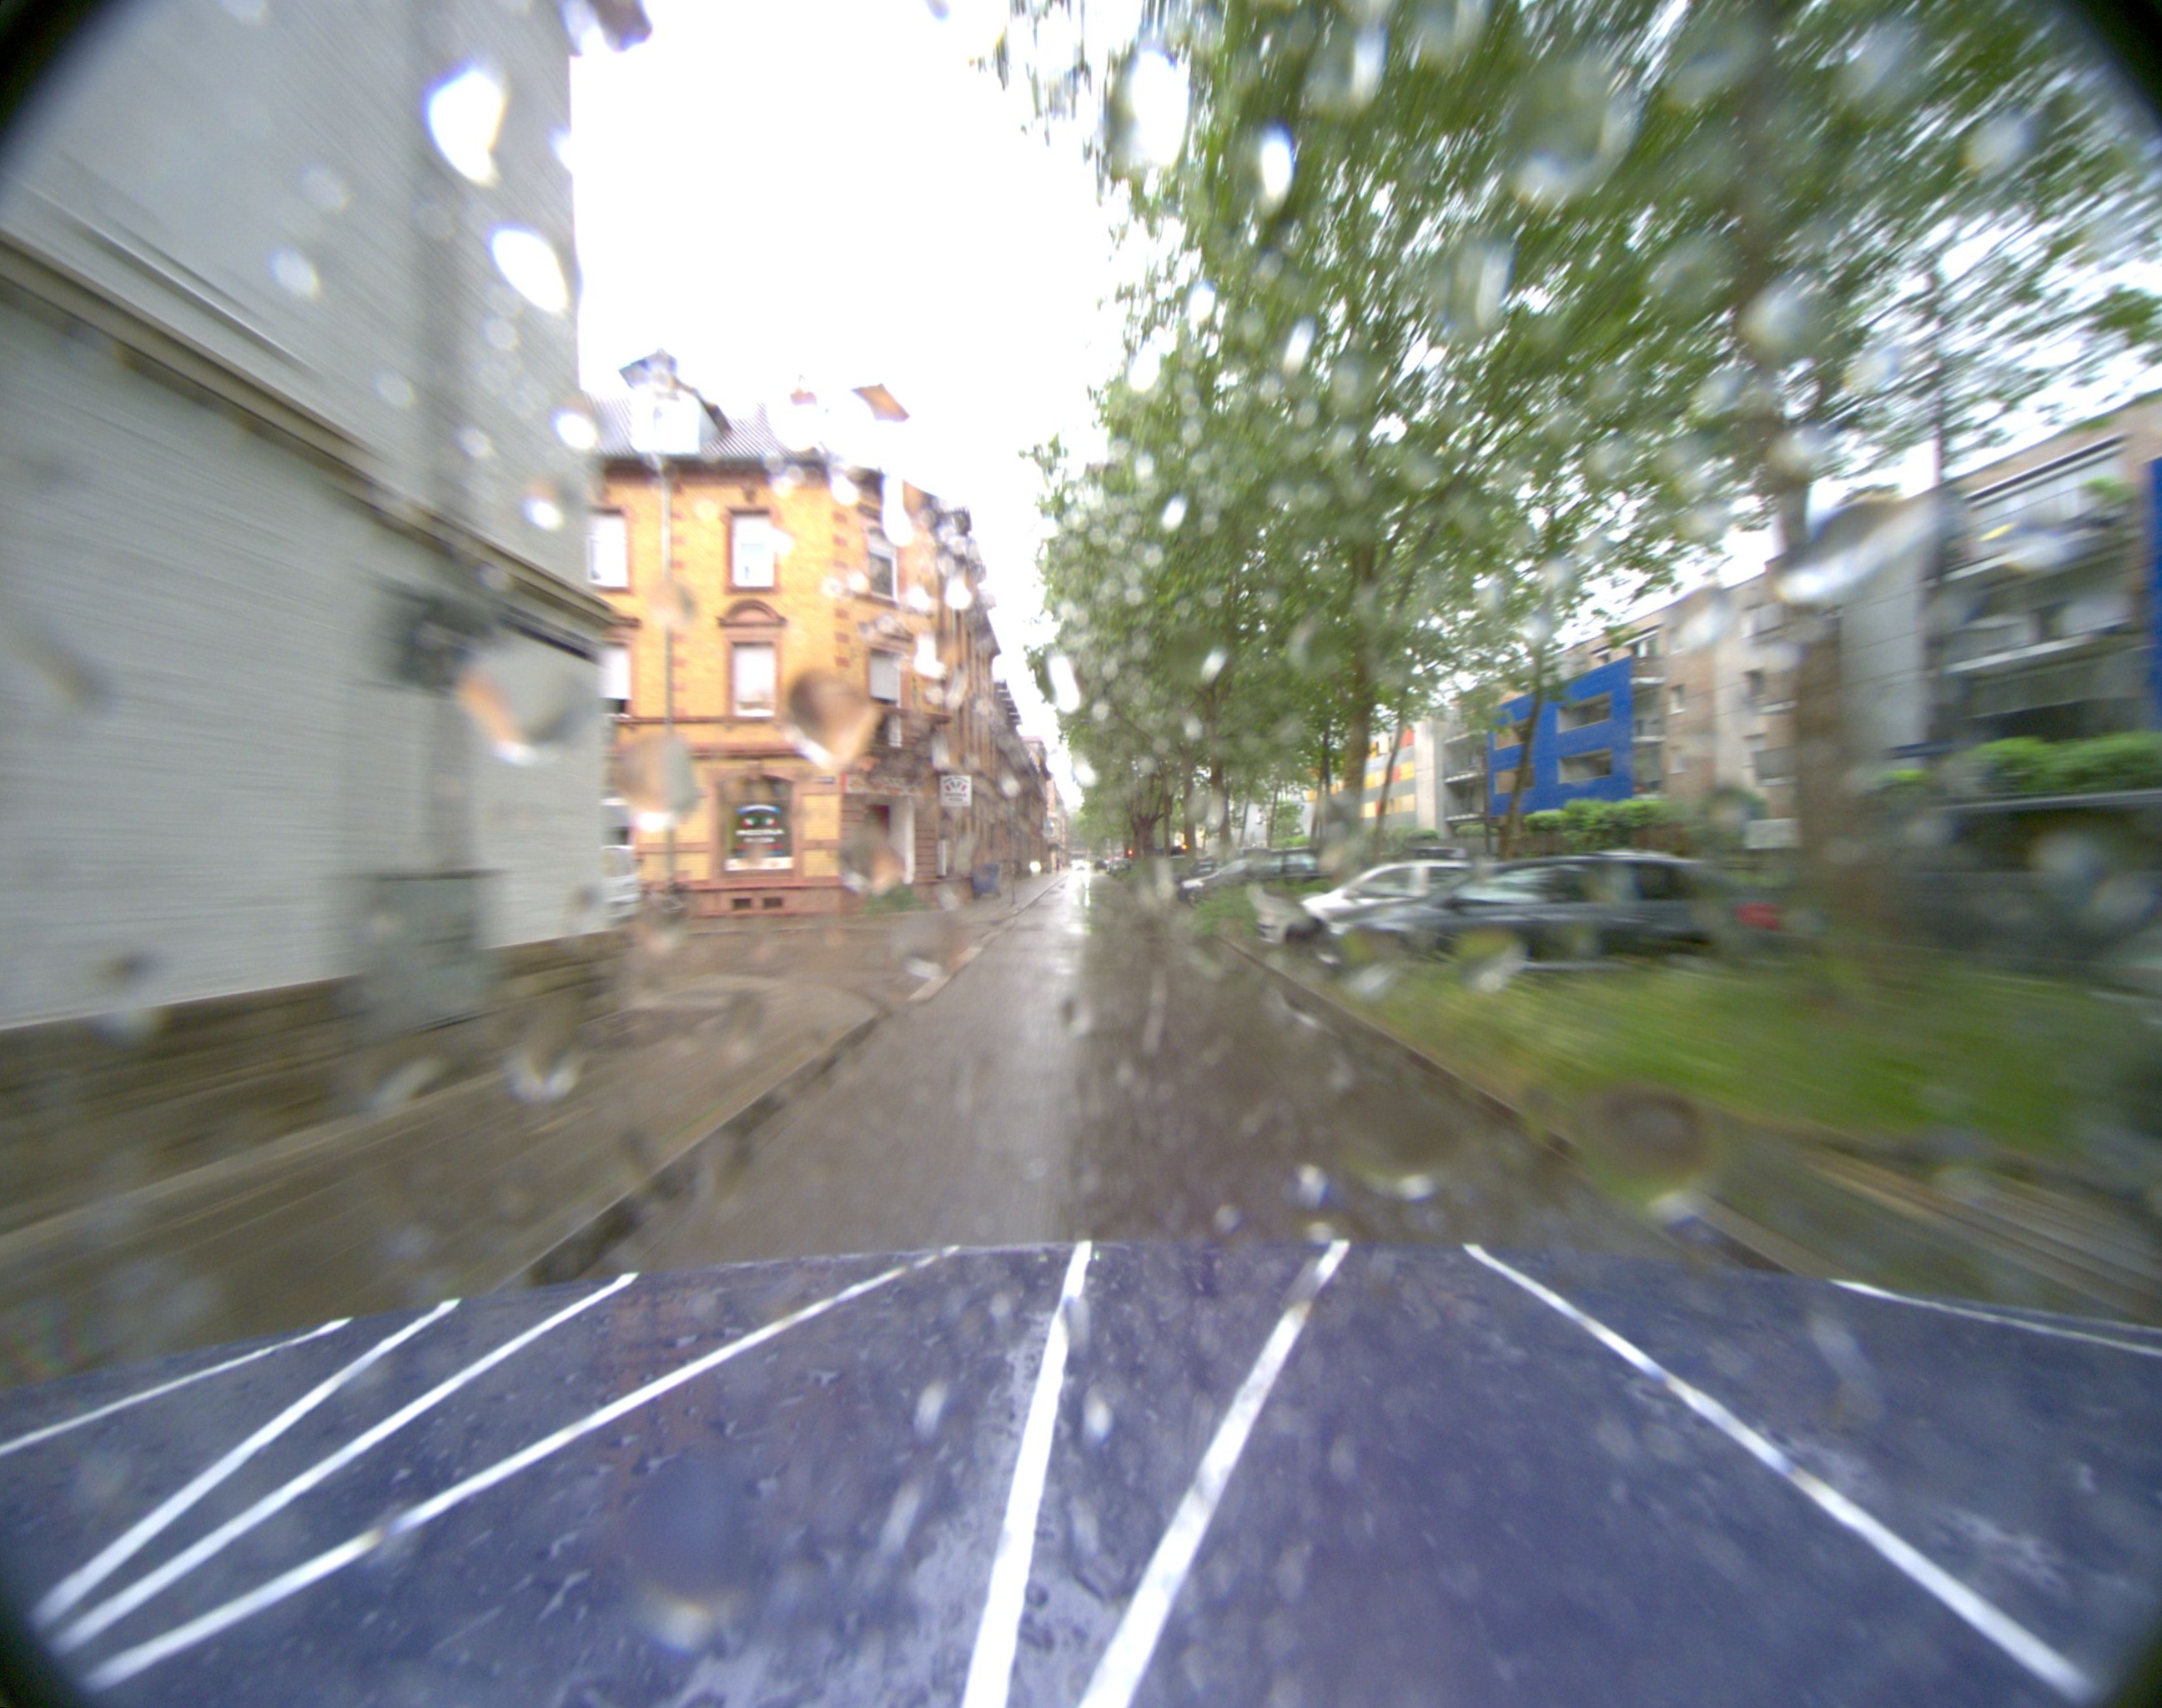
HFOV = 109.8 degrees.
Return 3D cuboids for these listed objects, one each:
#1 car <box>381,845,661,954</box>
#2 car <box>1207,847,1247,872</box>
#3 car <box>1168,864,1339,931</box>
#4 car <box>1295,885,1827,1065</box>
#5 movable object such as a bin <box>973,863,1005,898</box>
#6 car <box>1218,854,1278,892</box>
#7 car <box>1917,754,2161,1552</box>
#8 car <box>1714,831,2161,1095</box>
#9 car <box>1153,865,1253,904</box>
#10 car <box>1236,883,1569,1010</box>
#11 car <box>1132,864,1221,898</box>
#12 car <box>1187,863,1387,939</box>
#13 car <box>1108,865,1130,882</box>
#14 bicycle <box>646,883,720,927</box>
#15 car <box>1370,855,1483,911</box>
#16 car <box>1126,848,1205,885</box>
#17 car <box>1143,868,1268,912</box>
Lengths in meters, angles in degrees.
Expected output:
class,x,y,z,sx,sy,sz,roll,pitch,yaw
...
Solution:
class,x,y,z,sx,sy,sz,roll,pitch,yaw
car,-11.528,0.871,15.930,4.240,1.933,1.932,-2,3,-4
car,12.436,0.460,65.098,2.059,1.985,5.433,-4,0,-3
car,4.894,1.163,21.738,4.405,1.636,1.875,0,1,32
car,4.684,1.132,8.105,4.305,1.428,1.750,-3,-1,27
movable object such as a bin,-3.525,0.996,29.179,1.024,1.294,1.367,2,0,0
car,9.518,1.021,43.680,2.043,1.988,5.158,-2,0,-2
car,5.045,0.714,0.865,5.118,1.966,2.107,0,1,31
car,9.340,0.826,7.383,1.999,2.002,5.027,-3,0,-2
car,5.009,1.262,31.282,3.644,1.471,1.747,-3,0,31
car,4.483,1.254,10.973,4.060,1.490,1.750,-3,-1,24
car,4.816,1.348,38.424,4.056,1.528,1.838,-3,0,26
car,5.047,1.097,18.725,4.406,1.650,1.933,-1,0,28
car,3.790,1.961,75.842,1.901,1.476,4.621,-3,0,0
bicycle,-9.734,1.245,18.618,1.542,1.001,0.434,-1,0,-5
car,12.153,0.955,27.063,1.909,1.730,4.421,-2,0,-1
car,5.484,0.809,49.327,4.648,2.270,2.015,-1,0,30
car,4.643,1.339,28.431,4.220,1.471,1.747,-3,0,28
